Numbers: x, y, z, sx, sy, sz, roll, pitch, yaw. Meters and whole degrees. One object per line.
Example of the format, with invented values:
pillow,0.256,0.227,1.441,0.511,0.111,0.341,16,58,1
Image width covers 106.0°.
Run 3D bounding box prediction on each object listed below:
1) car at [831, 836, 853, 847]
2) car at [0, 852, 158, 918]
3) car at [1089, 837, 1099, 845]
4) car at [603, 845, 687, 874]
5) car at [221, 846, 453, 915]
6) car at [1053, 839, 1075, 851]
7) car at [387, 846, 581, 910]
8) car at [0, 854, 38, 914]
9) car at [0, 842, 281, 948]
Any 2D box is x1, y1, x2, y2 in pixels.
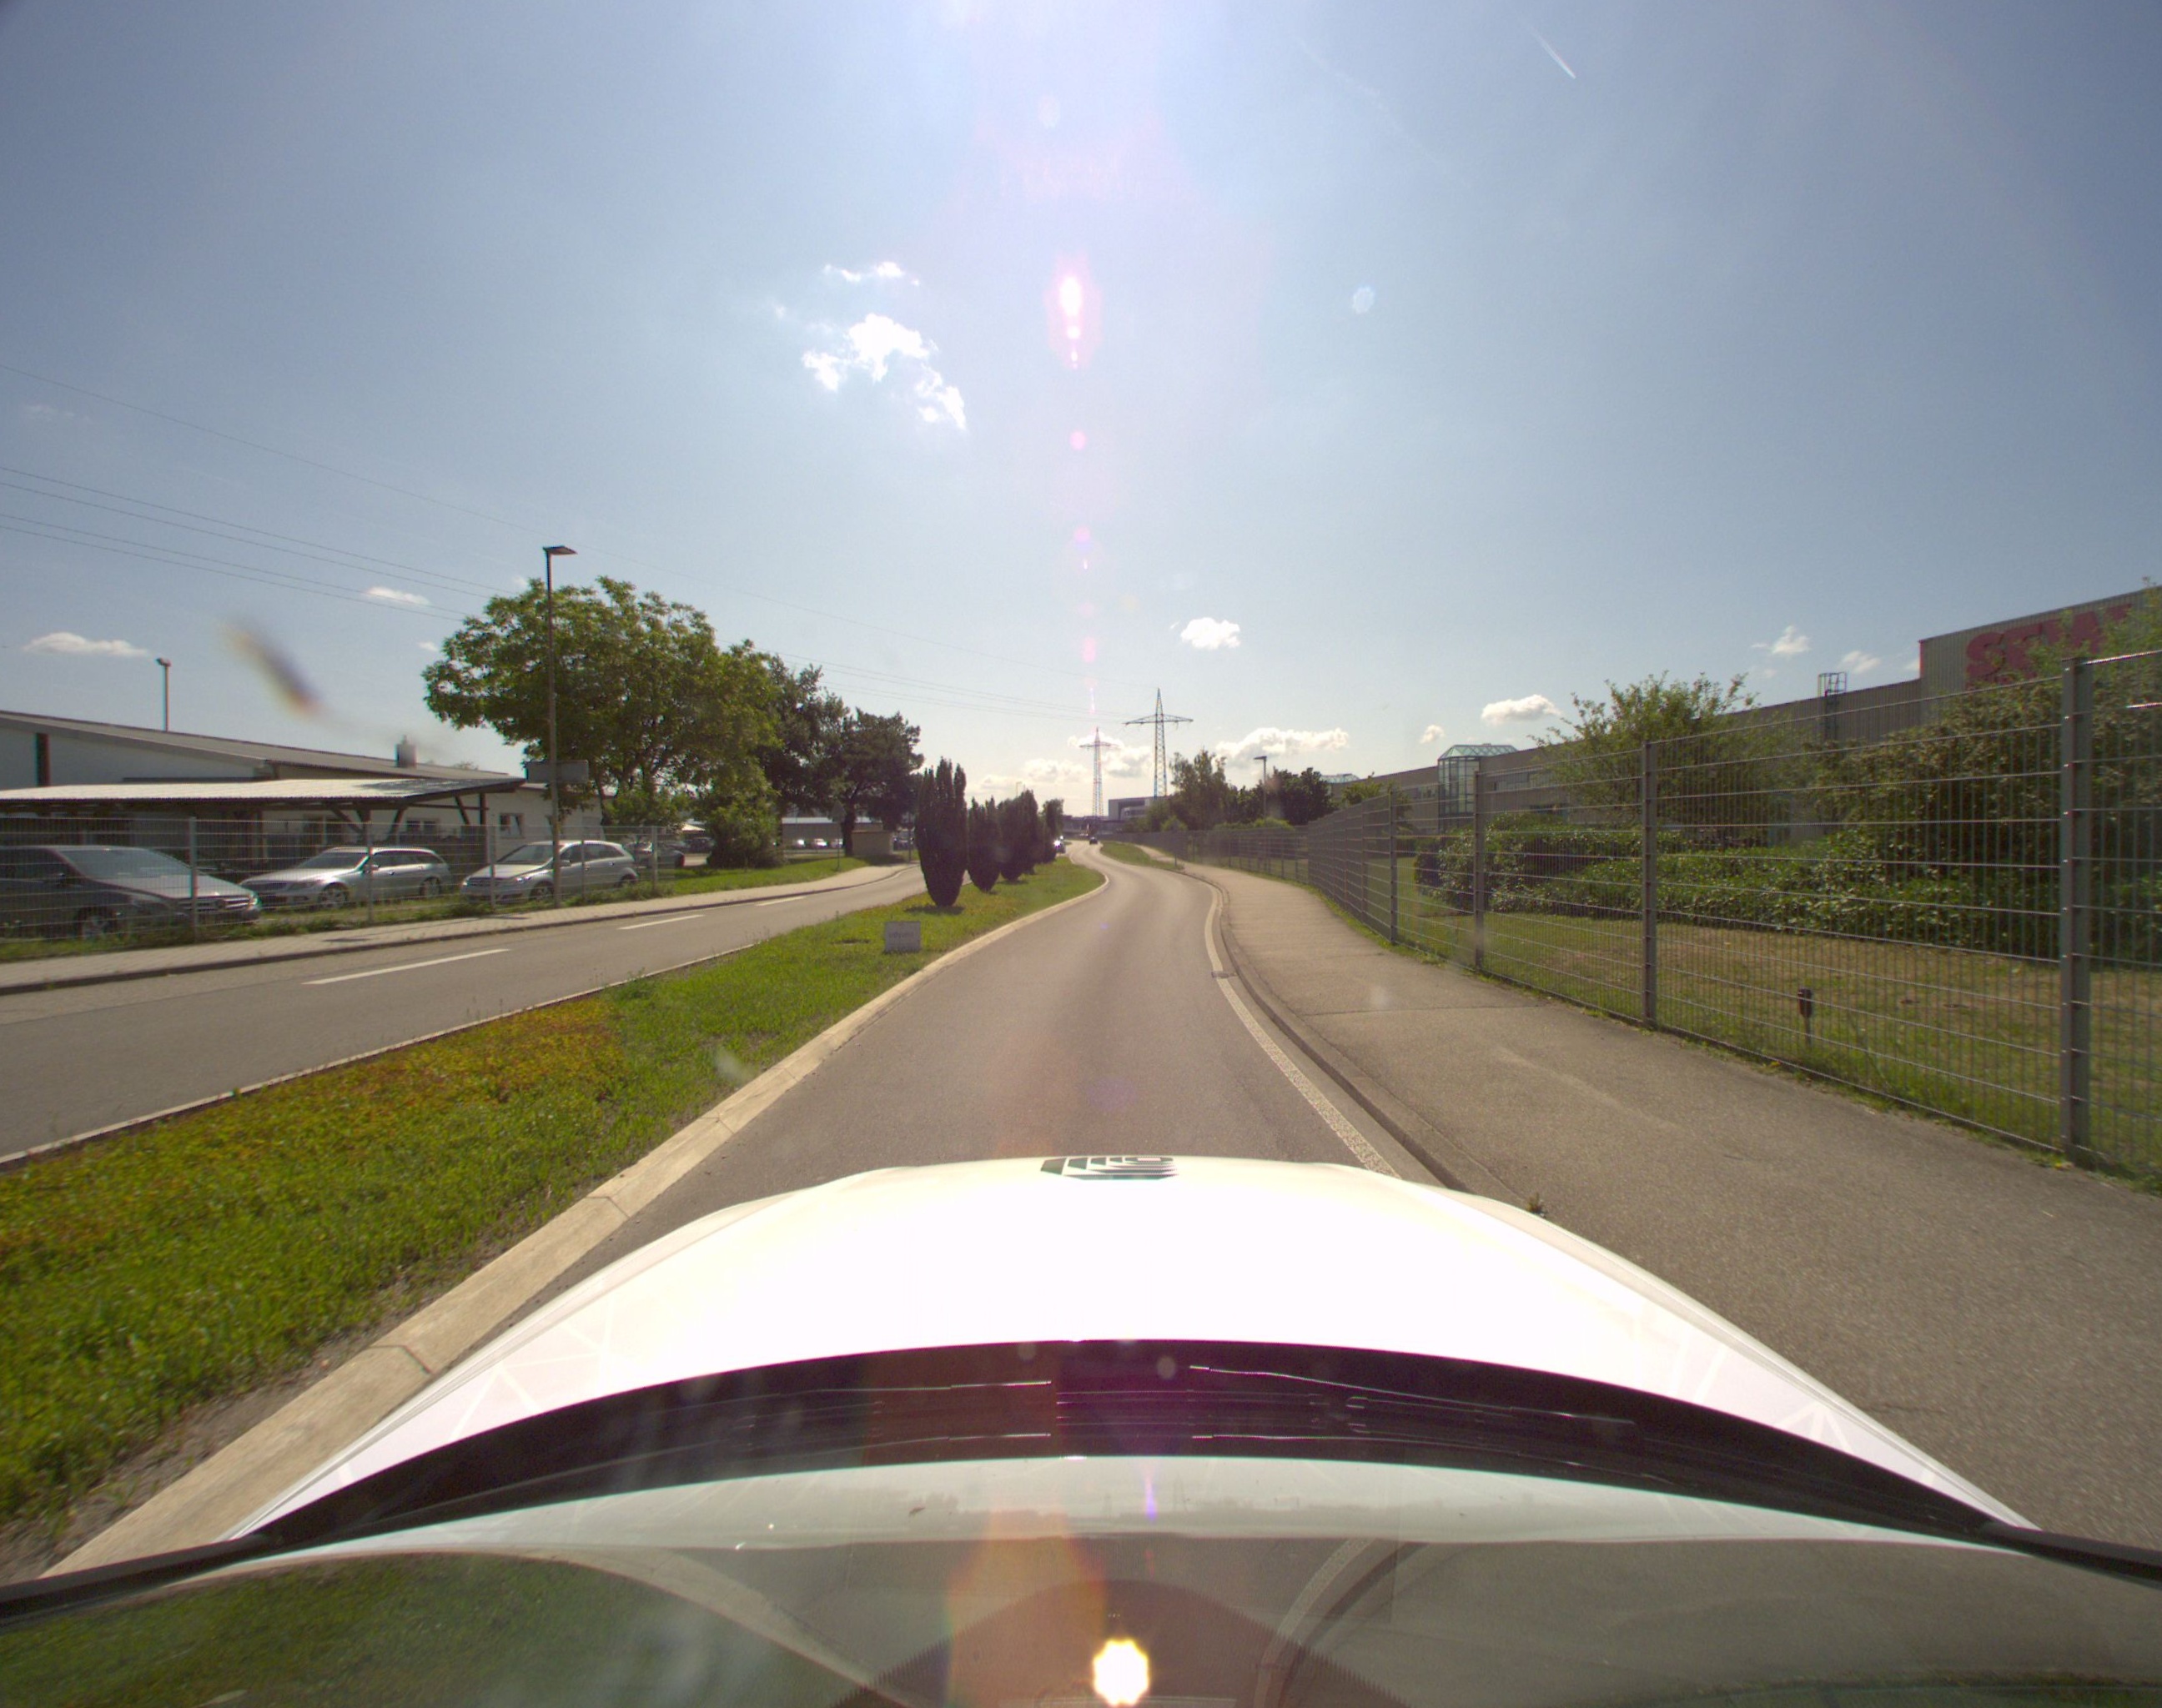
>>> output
car,-33.923,-1.748,115.574,2.006,1.486,4.207,-1,2,-30
car,-24.840,0.690,19.051,1.989,1.442,3.996,-1,0,-3
car,2.694,-2.728,173.030,2.006,1.508,3.998,-1,1,-1
car,-22.530,0.274,42.279,1.988,1.408,4.514,-1,0,-2
car,-17.731,0.558,19.732,1.989,1.442,3.997,-1,1,-3
car,-1.965,-1.063,94.838,1.889,1.393,4.874,-1,1,6
car,-14.849,0.529,20.584,1.988,1.442,3.997,-1,0,-2
car,-27.089,0.756,18.378,1.989,1.442,3.996,-1,0,-3
car,-15.680,0.601,12.958,3.970,1.519,2.002,-1,1,3
